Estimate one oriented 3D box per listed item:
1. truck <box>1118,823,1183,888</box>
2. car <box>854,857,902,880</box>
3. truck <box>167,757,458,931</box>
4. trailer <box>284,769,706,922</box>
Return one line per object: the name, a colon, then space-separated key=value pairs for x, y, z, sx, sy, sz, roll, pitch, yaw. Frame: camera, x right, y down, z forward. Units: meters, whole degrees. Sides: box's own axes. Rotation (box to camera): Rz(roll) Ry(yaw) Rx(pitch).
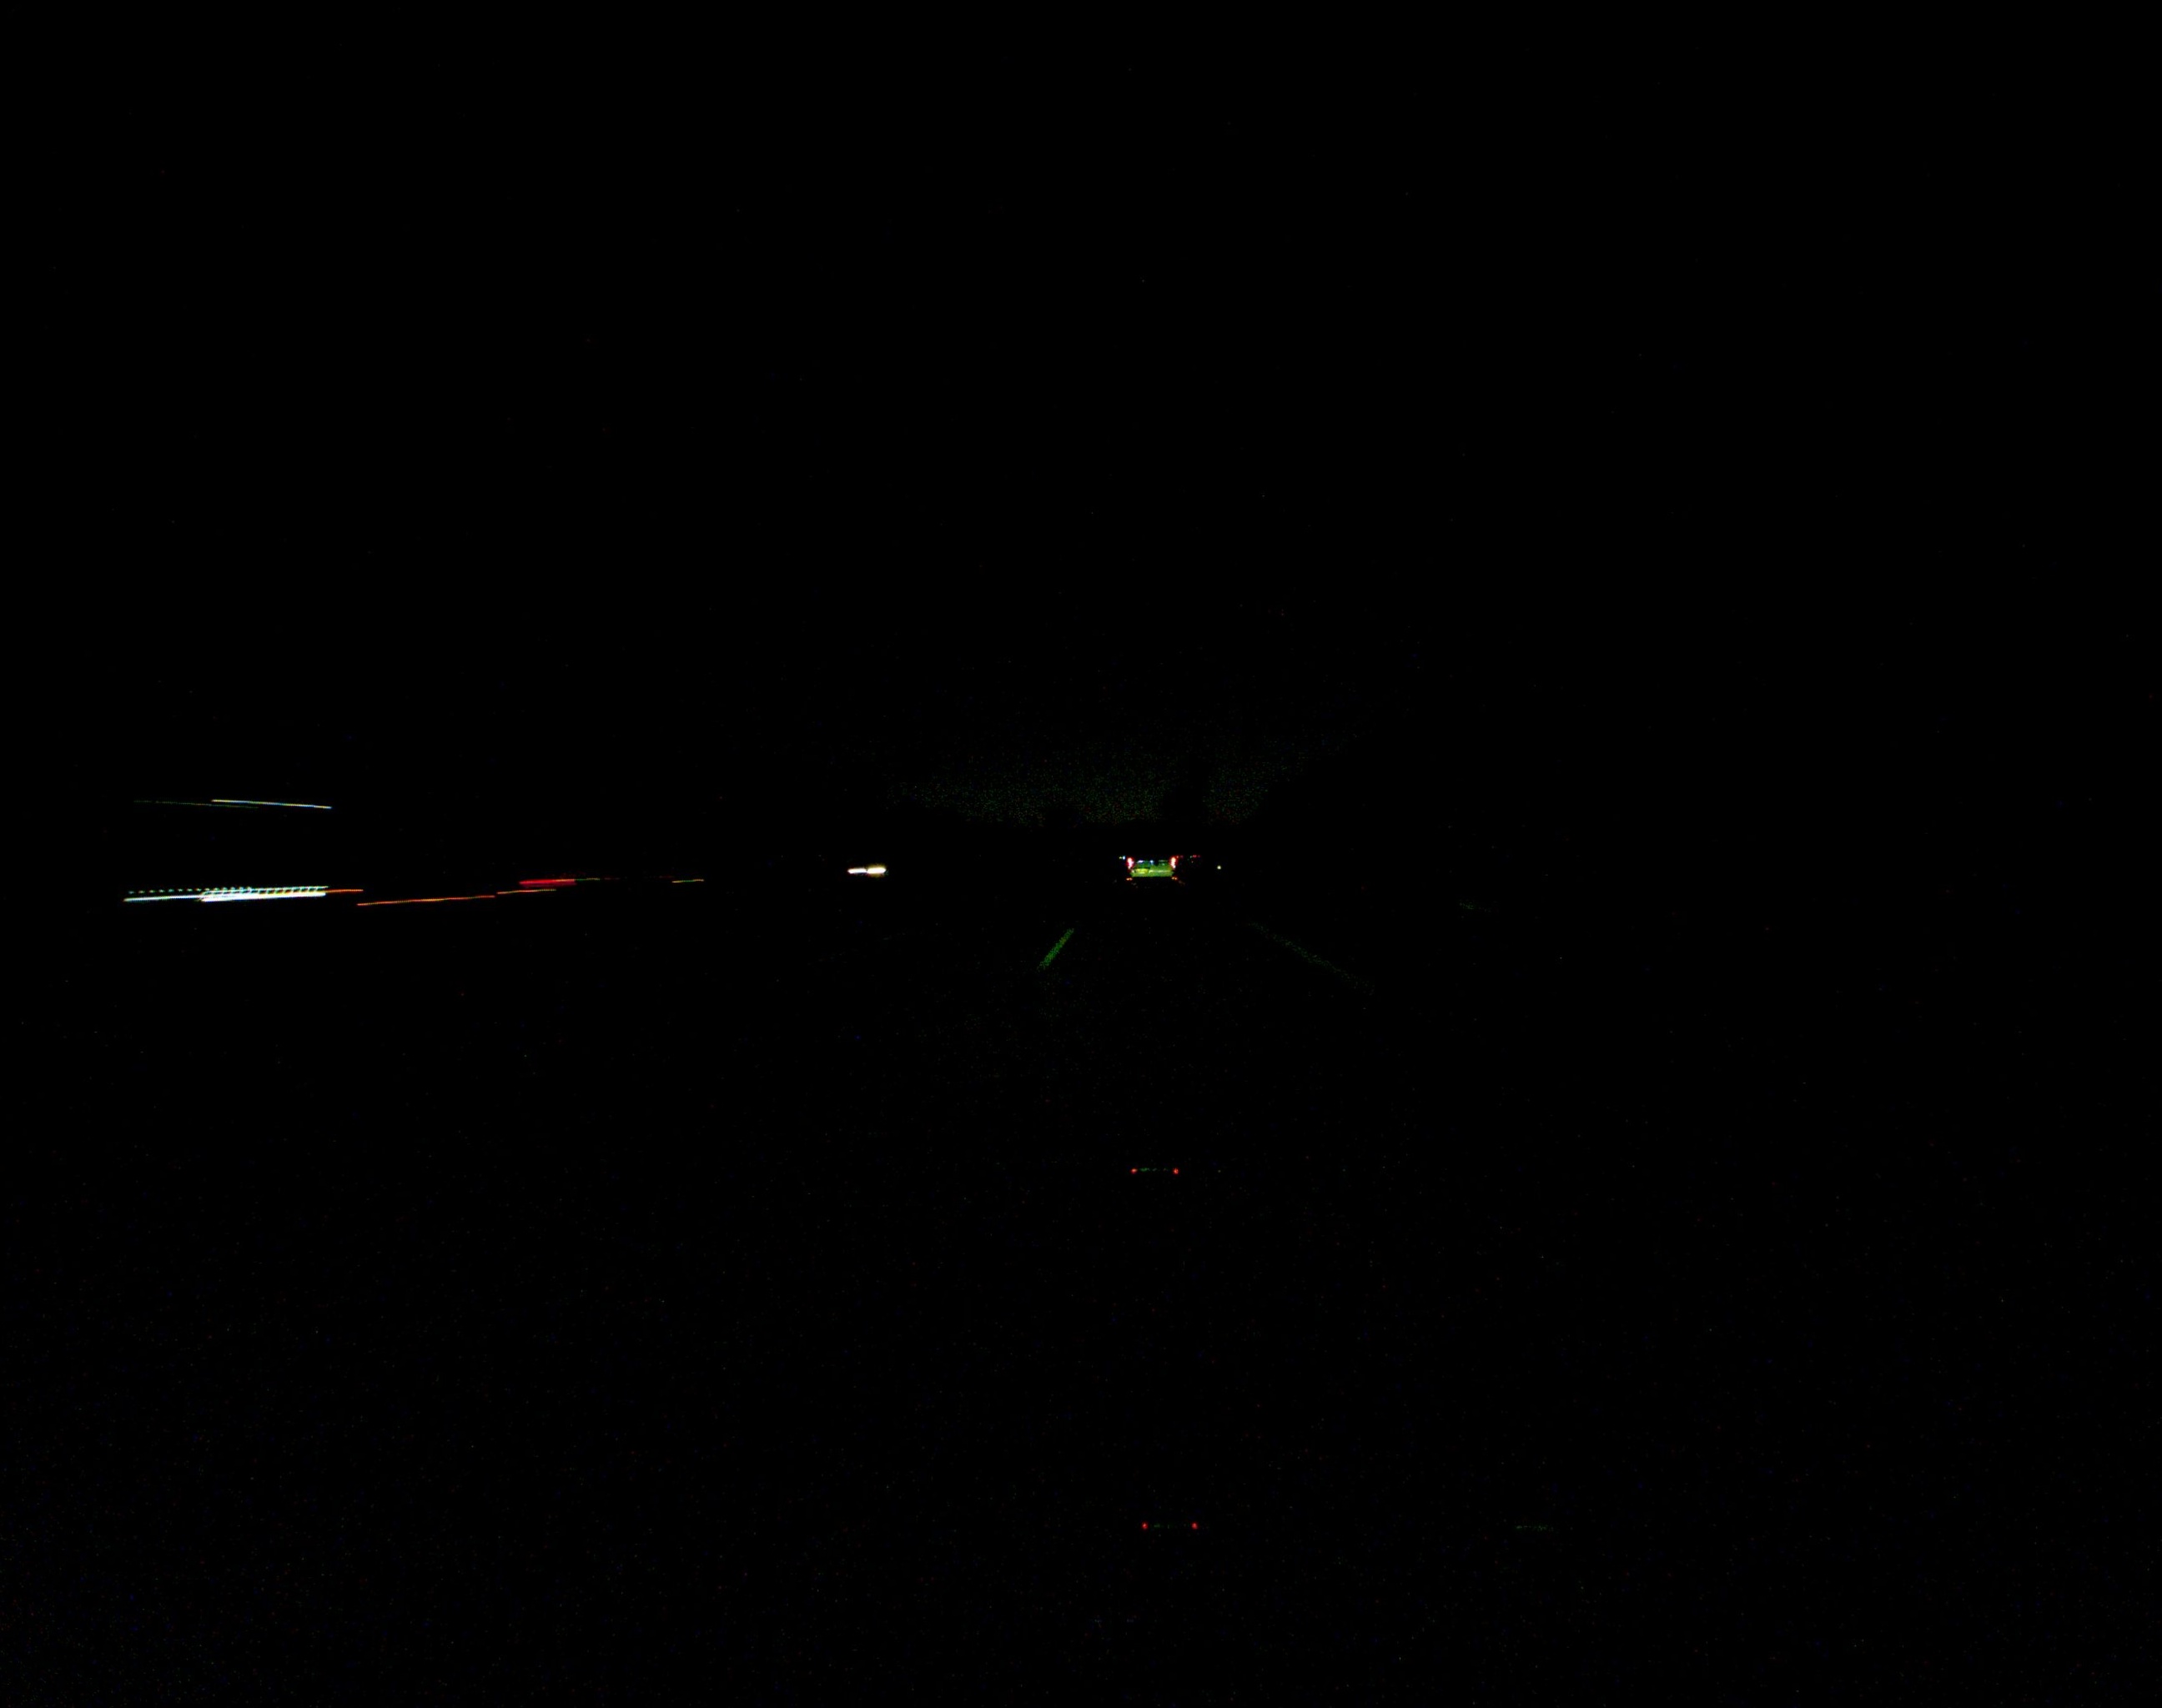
truck: x=3.123 y=0.123 z=38.082 sx=2.619 sy=2.624 sz=8.691 roll=-1 pitch=-1 yaw=3
car: x=-14.607 y=1.028 z=58.811 sx=1.984 sy=1.580 sz=4.589 roll=-1 pitch=-1 yaw=4
truck: x=-20.865 y=-0.213 z=22.613 sx=2.702 sy=4.199 sz=5.426 roll=-1 pitch=-1 yaw=4
trailer: x=-20.279 y=-0.111 z=31.246 sx=2.676 sy=4.218 sz=17.270 roll=-1 pitch=-1 yaw=4
